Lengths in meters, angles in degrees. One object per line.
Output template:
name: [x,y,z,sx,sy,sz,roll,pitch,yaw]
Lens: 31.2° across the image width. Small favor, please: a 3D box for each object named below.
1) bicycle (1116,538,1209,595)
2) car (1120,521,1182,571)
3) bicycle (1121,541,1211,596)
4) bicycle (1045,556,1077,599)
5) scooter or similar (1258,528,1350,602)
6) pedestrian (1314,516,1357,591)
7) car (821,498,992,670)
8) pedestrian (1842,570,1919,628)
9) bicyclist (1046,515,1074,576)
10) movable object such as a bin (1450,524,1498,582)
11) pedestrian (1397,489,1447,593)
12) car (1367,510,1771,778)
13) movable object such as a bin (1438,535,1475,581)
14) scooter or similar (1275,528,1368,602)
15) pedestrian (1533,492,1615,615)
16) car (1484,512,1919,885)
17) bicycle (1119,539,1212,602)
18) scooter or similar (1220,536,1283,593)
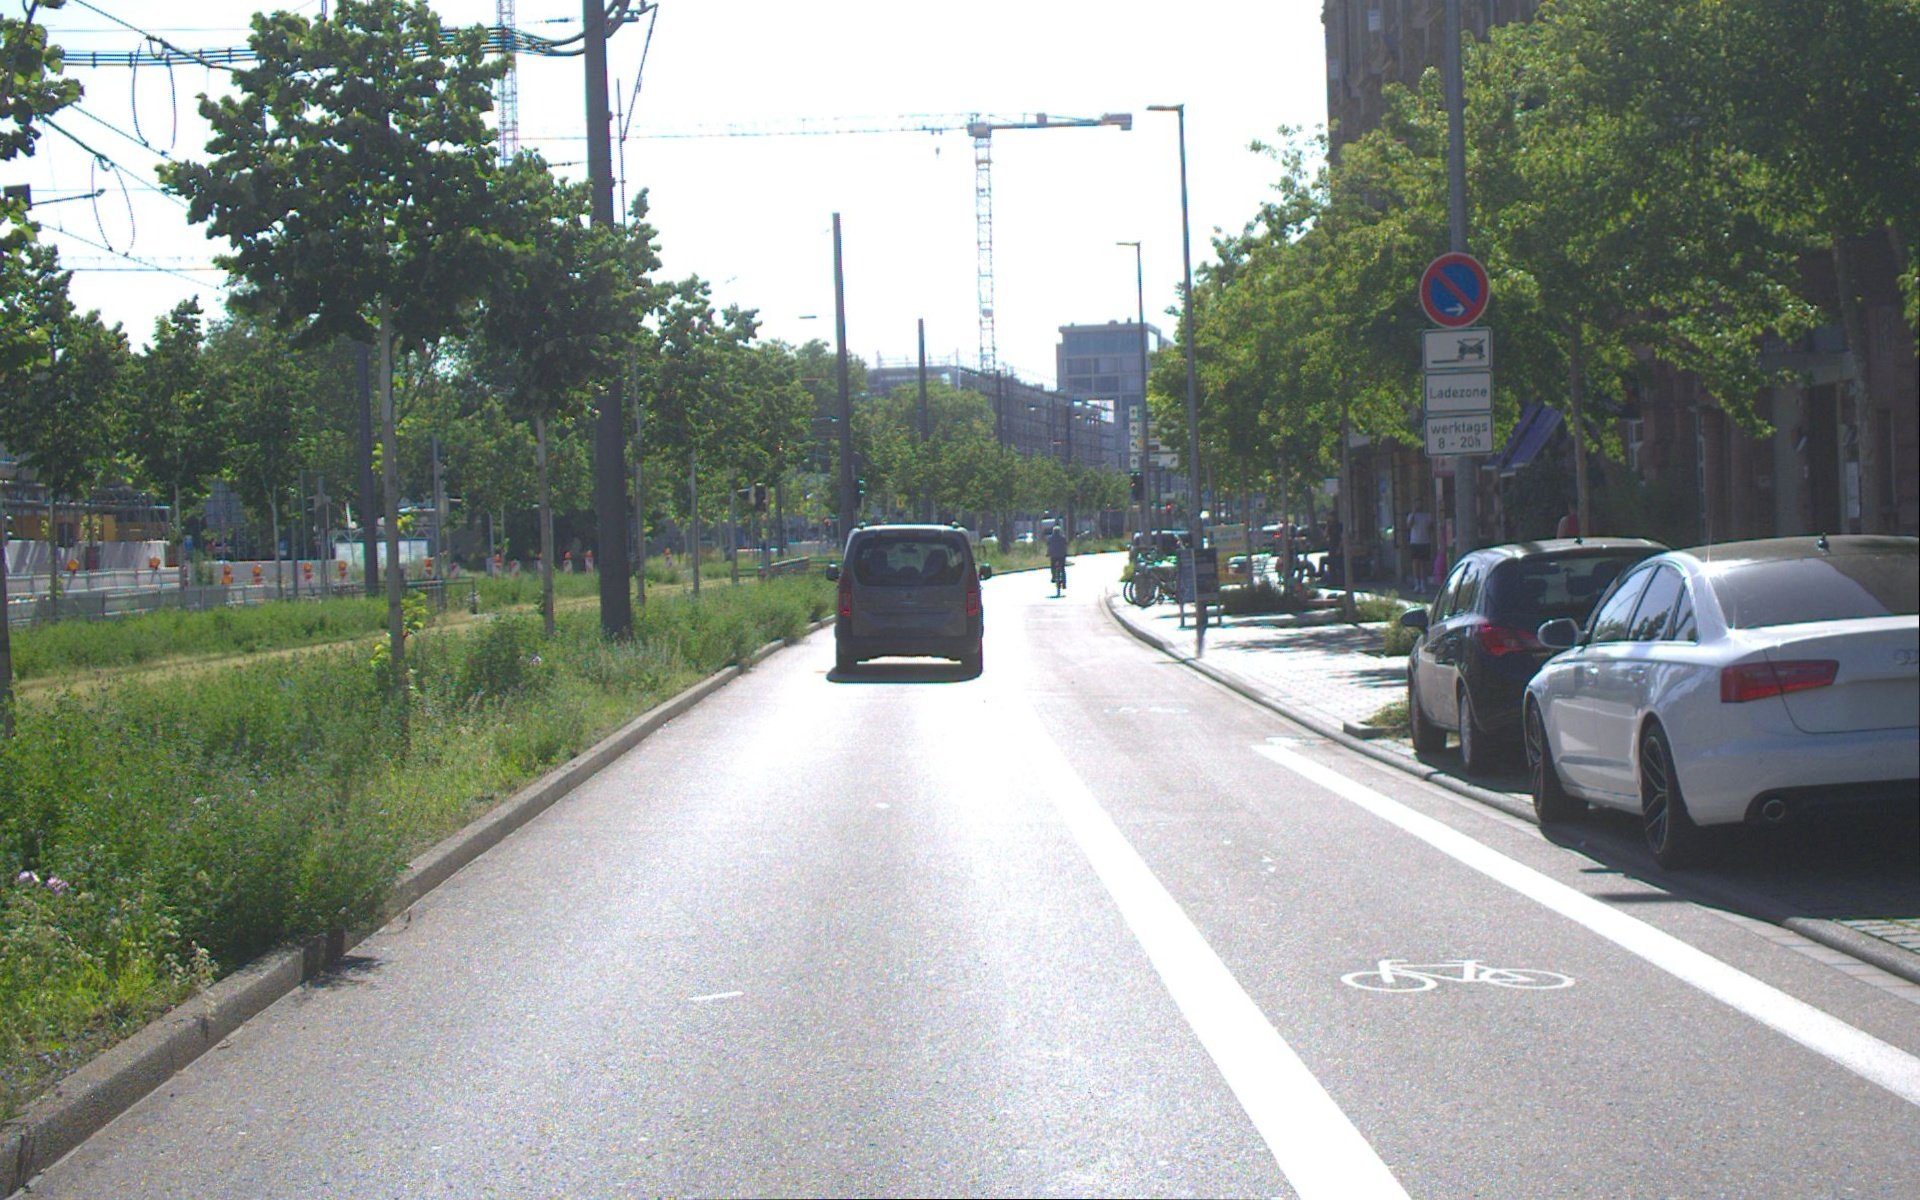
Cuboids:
bicycle: [4.555,-0.755,77.388,1.915,1.117,0.665,-5,1,-6]
car: [6.492,-1.806,116.504,1.989,1.632,4.189,0,0,5]
bicycle: [4.552,-0.700,75.872,1.824,1.075,0.665,-5,1,-6]
bicycle: [2.641,-0.605,89.941,0.701,1.087,2.277,-1,1,-1]
scooter or similar: [6.154,-0.625,61.500,1.473,1.212,0.602,-4,2,-10]
pedestrian: [8.824,-1.091,80.815,0.844,1.736,0.886,-2,0,0]
car: [-0.660,-0.229,42.566,1.993,2.007,4.000,0,1,-1]
pedestrian: [10.306,-0.020,37.583,0.773,0.551,2.008,-2,1,-1]
bicyclist: [2.611,-1.423,89.916,0.683,1.579,0.840,-1,1,-1]
movable object such as a bin: [9.881,-0.911,66.102,0.725,1.094,0.748,-1,1,-5]
pedestrian: [9.119,-1.156,67.850,0.817,2.007,1.046,0,-2,0]
car: [4.075,0.261,23.708,1.884,1.564,4.221,-4,0,-1]
movable object such as a bin: [10.003,-0.852,69.287,0.604,0.913,0.650,-1,1,-5]
scooter or similar: [6.385,-0.622,60.740,1.473,1.212,0.602,-4,2,-4]
pedestrian: [8.712,-0.662,48.821,0.996,1.725,0.866,0,0,-1]
car: [4.005,0.358,16.972,1.951,1.490,5.105,-3,1,0]
bicycle: [4.439,-0.633,74.338,1.878,1.229,0.500,-4,1,-6]
scooter or similar: [6.049,-0.735,71.484,1.220,1.102,0.783,-3,2,3]
